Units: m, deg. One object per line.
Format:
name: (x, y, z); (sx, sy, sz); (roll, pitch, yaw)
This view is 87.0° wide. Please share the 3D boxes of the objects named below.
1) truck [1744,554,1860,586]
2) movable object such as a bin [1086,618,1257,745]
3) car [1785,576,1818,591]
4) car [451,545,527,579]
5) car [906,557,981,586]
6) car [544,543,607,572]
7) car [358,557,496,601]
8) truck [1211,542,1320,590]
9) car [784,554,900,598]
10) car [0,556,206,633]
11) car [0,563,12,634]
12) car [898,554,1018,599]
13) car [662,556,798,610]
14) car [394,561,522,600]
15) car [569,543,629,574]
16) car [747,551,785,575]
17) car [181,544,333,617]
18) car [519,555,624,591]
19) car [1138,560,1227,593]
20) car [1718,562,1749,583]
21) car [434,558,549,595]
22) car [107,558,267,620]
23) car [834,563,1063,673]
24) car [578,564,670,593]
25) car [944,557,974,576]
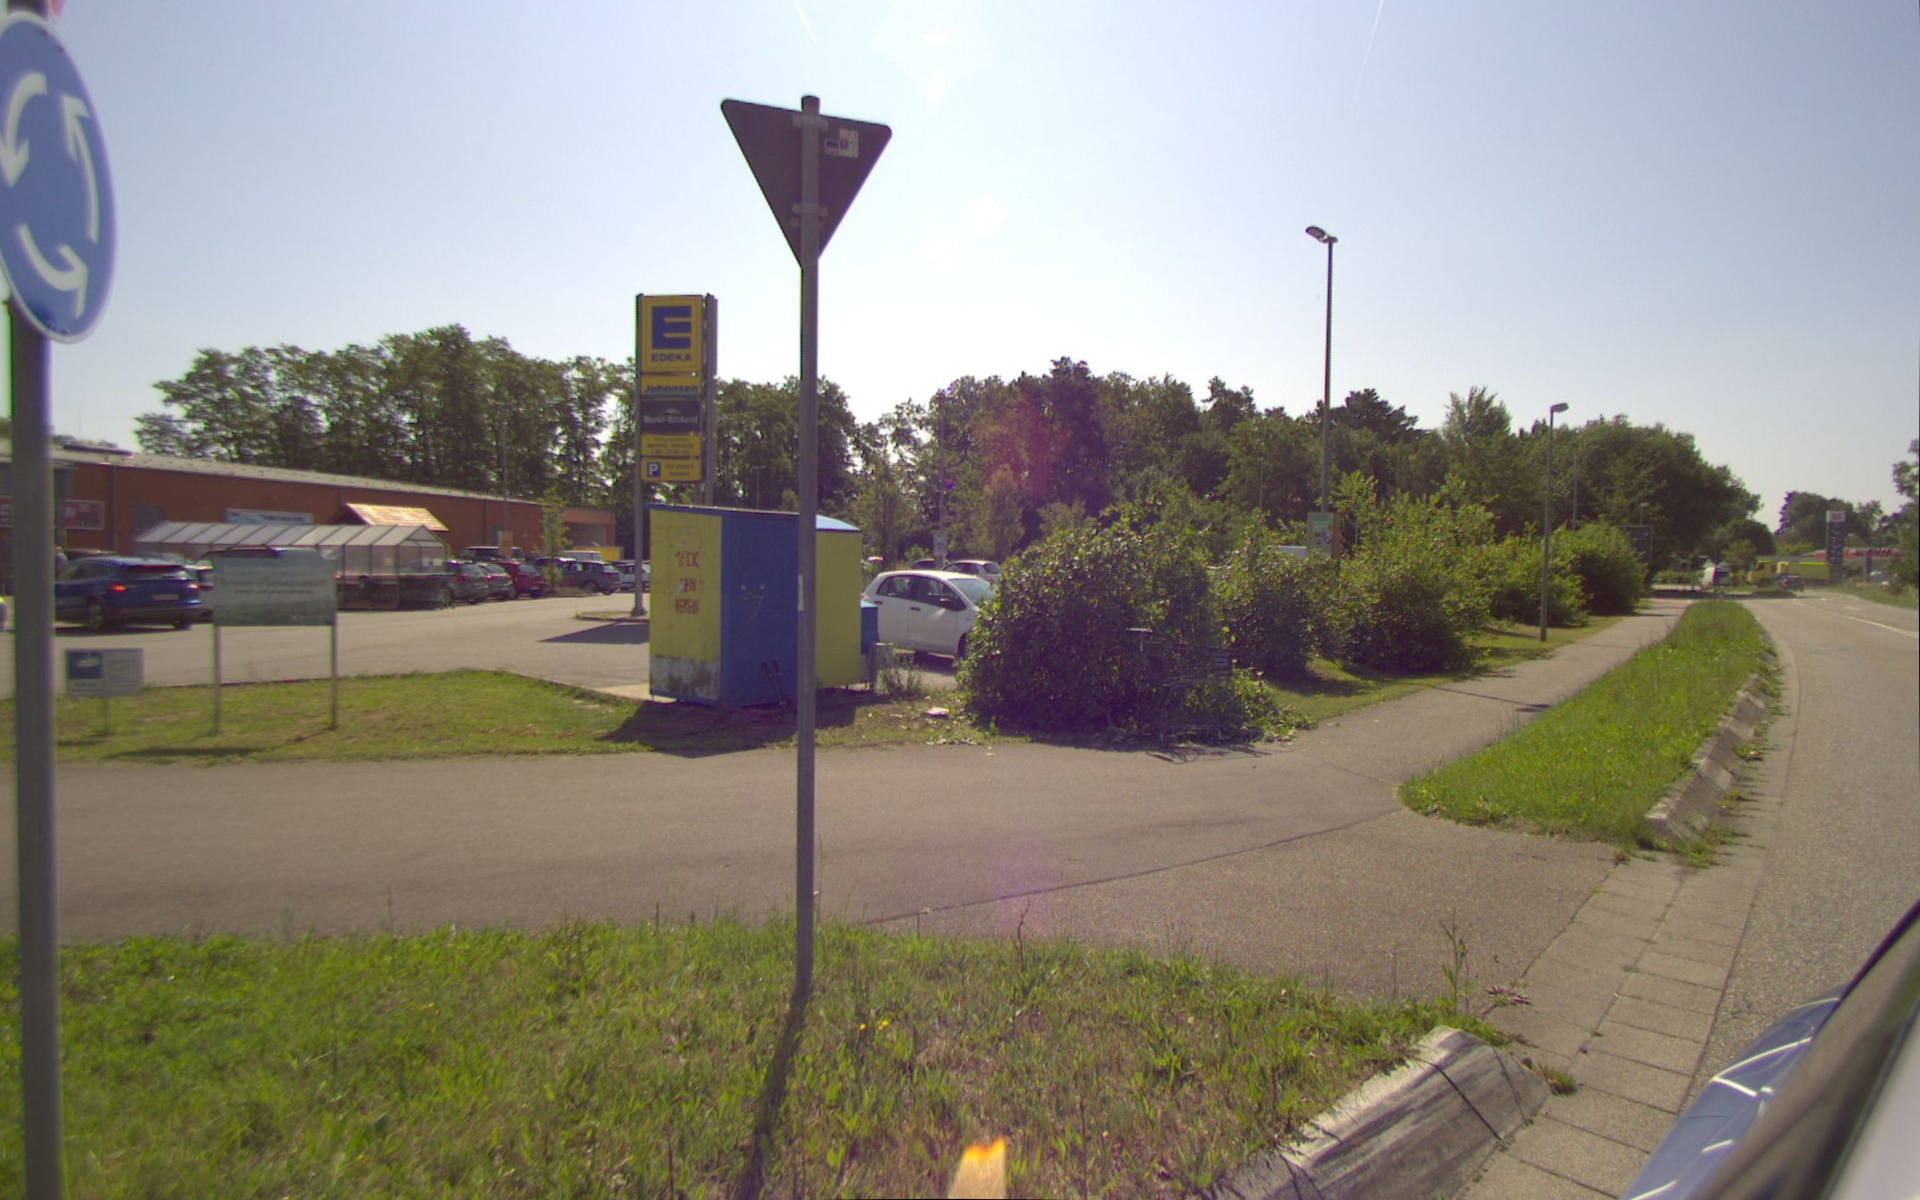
truck: (101.421, -3.667, 122.233); (10.277, 3.435, 3.836); (3, 3, 36)
movable object such as a bin: (2.108, 0.771, 10.134); (1.425, 1.134, 0.872); (0, 1, -25)
car: (80.116, -1.600, 96.388); (1.690, 1.406, 4.248); (2, 2, 30)
car: (-29.362, -2.384, 63.138); (3.938, 2.038, 1.994); (1, 2, 12)
car: (-0.938, -1.653, 58.646); (3.944, 1.604, 1.962); (2, 2, 16)
car: (-28.332, -3.104, 74.592); (3.941, 2.038, 1.992); (1, 1, 14)
car: (-18.688, -0.744, 35.555); (3.937, 1.437, 1.976); (1, 1, 11)
truck: (17.626, -2.003, 58.572); (5.586, 2.637, 2.174); (3, 3, 37)
car: (-4.992, -1.026, 43.028); (4.488, 1.723, 1.994); (-1, 1, 11)
car: (-19.334, -0.162, 22.808); (4.374, 1.591, 1.705); (1, 1, 21)
car: (-21.730, -0.053, 20.919); (3.446, 1.476, 1.706); (1, 1, 18)
car: (-0.087, -0.846, 35.438); (3.973, 1.460, 1.631); (2, 2, 34)
car: (-7.283, -0.555, 32.204); (3.927, 1.608, 1.661); (1, 2, 3)
car: (-18.931, -0.747, 38.229); (3.934, 1.393, 1.995); (1, 1, 9)
car: (-28.028, -3.211, 78.602); (3.965, 2.274, 1.992); (1, 1, 14)
car: (-16.837, -3.193, 87.920); (1.913, 1.998, 3.988); (2, 2, 11)
car: (-19.845, -0.585, 28.616); (3.446, 1.953, 1.868); (1, 1, 18)
car: (-17.269, -1.204, 45.053); (3.935, 1.504, 1.964); (1, 1, 10)
car: (11.039, -1.185, 50.198); (3.938, 1.471, 1.886); (2, 2, 28)
car: (92.040, -3.292, 120.491); (1.899, 2.430, 4.866); (2, 2, 26)
car: (-18.796, -0.964, 40.655); (3.936, 1.415, 1.711); (1, 2, 11)
car: (-20.115, -0.319, 26.356); (3.446, 1.516, 1.706); (1, 1, 18)
car: (-0.255, 0.219, 17.239); (3.589, 1.581, 1.788); (4, 3, 40)
car: (-16.761, -1.089, 50.564); (3.945, 1.371, 1.990); (2, 2, 17)
car: (-0.048, -2.788, 84.218); (1.636, 1.504, 4.360); (2, 2, 11)
